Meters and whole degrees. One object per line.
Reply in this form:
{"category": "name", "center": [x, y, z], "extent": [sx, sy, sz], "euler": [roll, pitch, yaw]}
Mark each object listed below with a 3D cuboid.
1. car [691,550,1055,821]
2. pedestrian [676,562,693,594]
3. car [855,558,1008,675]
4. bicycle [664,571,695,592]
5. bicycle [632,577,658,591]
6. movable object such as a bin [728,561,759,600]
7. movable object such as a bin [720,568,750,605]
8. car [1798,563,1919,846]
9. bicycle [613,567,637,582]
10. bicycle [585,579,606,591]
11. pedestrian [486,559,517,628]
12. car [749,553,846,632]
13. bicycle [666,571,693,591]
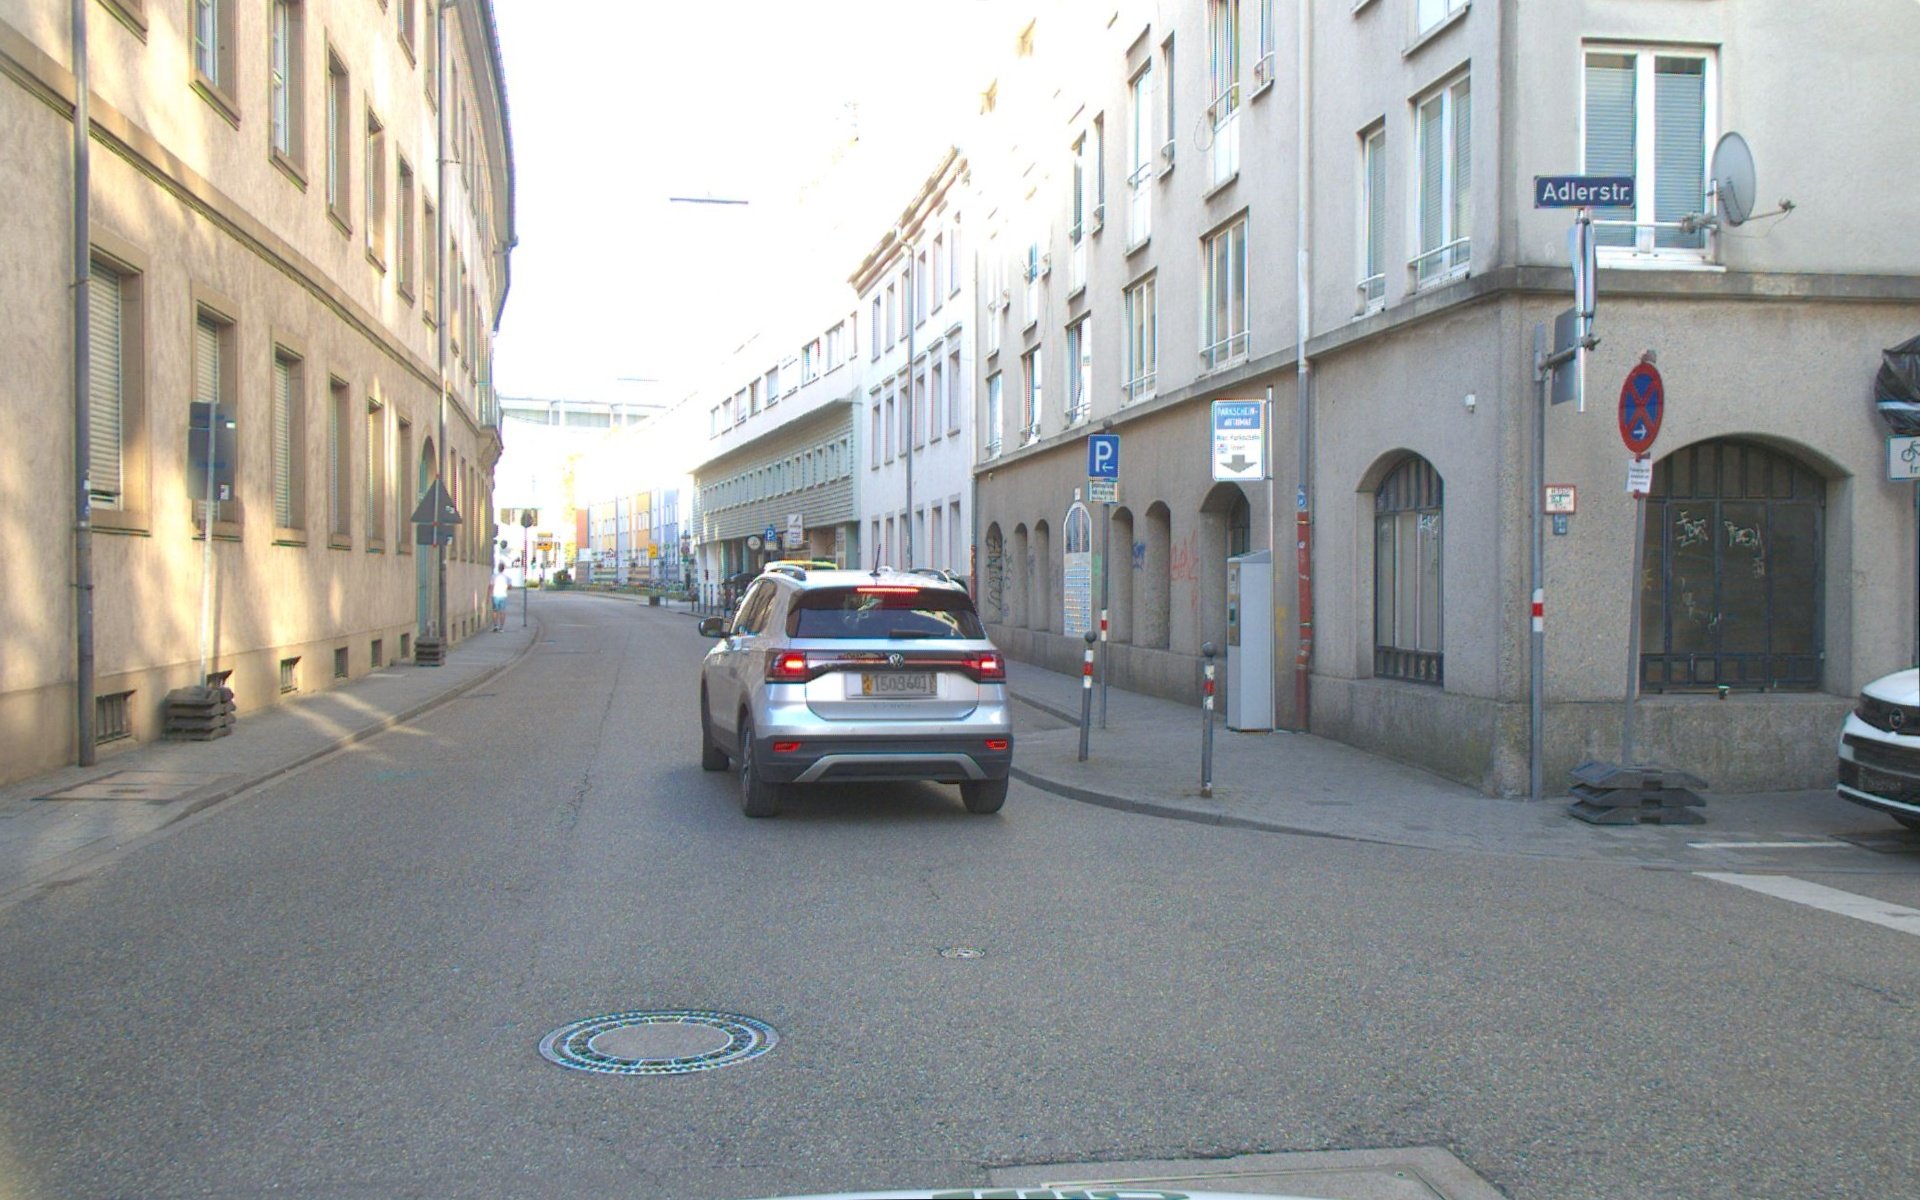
{"category": "car", "center": [-0.808, 0.461, 11.819], "extent": [1.795, 1.586, 3.970], "euler": [0, 1, -16]}
{"category": "pedestrian", "center": [-15.643, -1.233, 93.771], "extent": [0.686, 1.790, 1.182], "euler": [-3, 2, -18]}
{"category": "car", "center": [-0.540, 0.202, 26.155], "extent": [1.791, 1.683, 4.484], "euler": [0, 1, -9]}
{"category": "bicycle", "center": [-17.153, -1.149, 101.075], "extent": [1.722, 1.161, 0.549], "euler": [-4, 3, -19]}
{"category": "bicycle", "center": [-21.753, -1.133, 114.179], "extent": [1.722, 0.963, 0.549], "euler": [0, 1, -19]}
{"category": "movable object such as a bin", "center": [-8.699, -0.777, 66.379], "extent": [0.965, 1.506, 1.544], "euler": [-2, -1, -16]}
{"category": "movable object such as a bin", "center": [-9.247, -0.551, 67.910], "extent": [0.965, 1.409, 1.314], "euler": [-2, -1, -16]}
{"category": "car", "center": [7.369, 0.582, 9.779], "extent": [3.989, 1.595, 1.766], "euler": [0, 1, -5]}
{"category": "bicycle", "center": [-26.350, -1.989, 130.105], "extent": [1.784, 1.157, 0.548], "euler": [-1, 1, -21]}
{"category": "bicycle", "center": [-31.623, -1.298, 143.512], "extent": [1.730, 1.021, 0.609], "euler": [-2, 1, -24]}
{"category": "pedestrian", "center": [-11.629, -0.166, 41.959], "extent": [0.681, 1.699, 0.872], "euler": [1, 0, -15]}
{"category": "car", "center": [-4.241, -0.221, 42.546], "extent": [1.851, 1.914, 4.829], "euler": [0, 1, -14]}
{"category": "bicycle", "center": [-17.379, -1.188, 102.516], "extent": [1.622, 1.161, 0.281], "euler": [-5, 3, -27]}
